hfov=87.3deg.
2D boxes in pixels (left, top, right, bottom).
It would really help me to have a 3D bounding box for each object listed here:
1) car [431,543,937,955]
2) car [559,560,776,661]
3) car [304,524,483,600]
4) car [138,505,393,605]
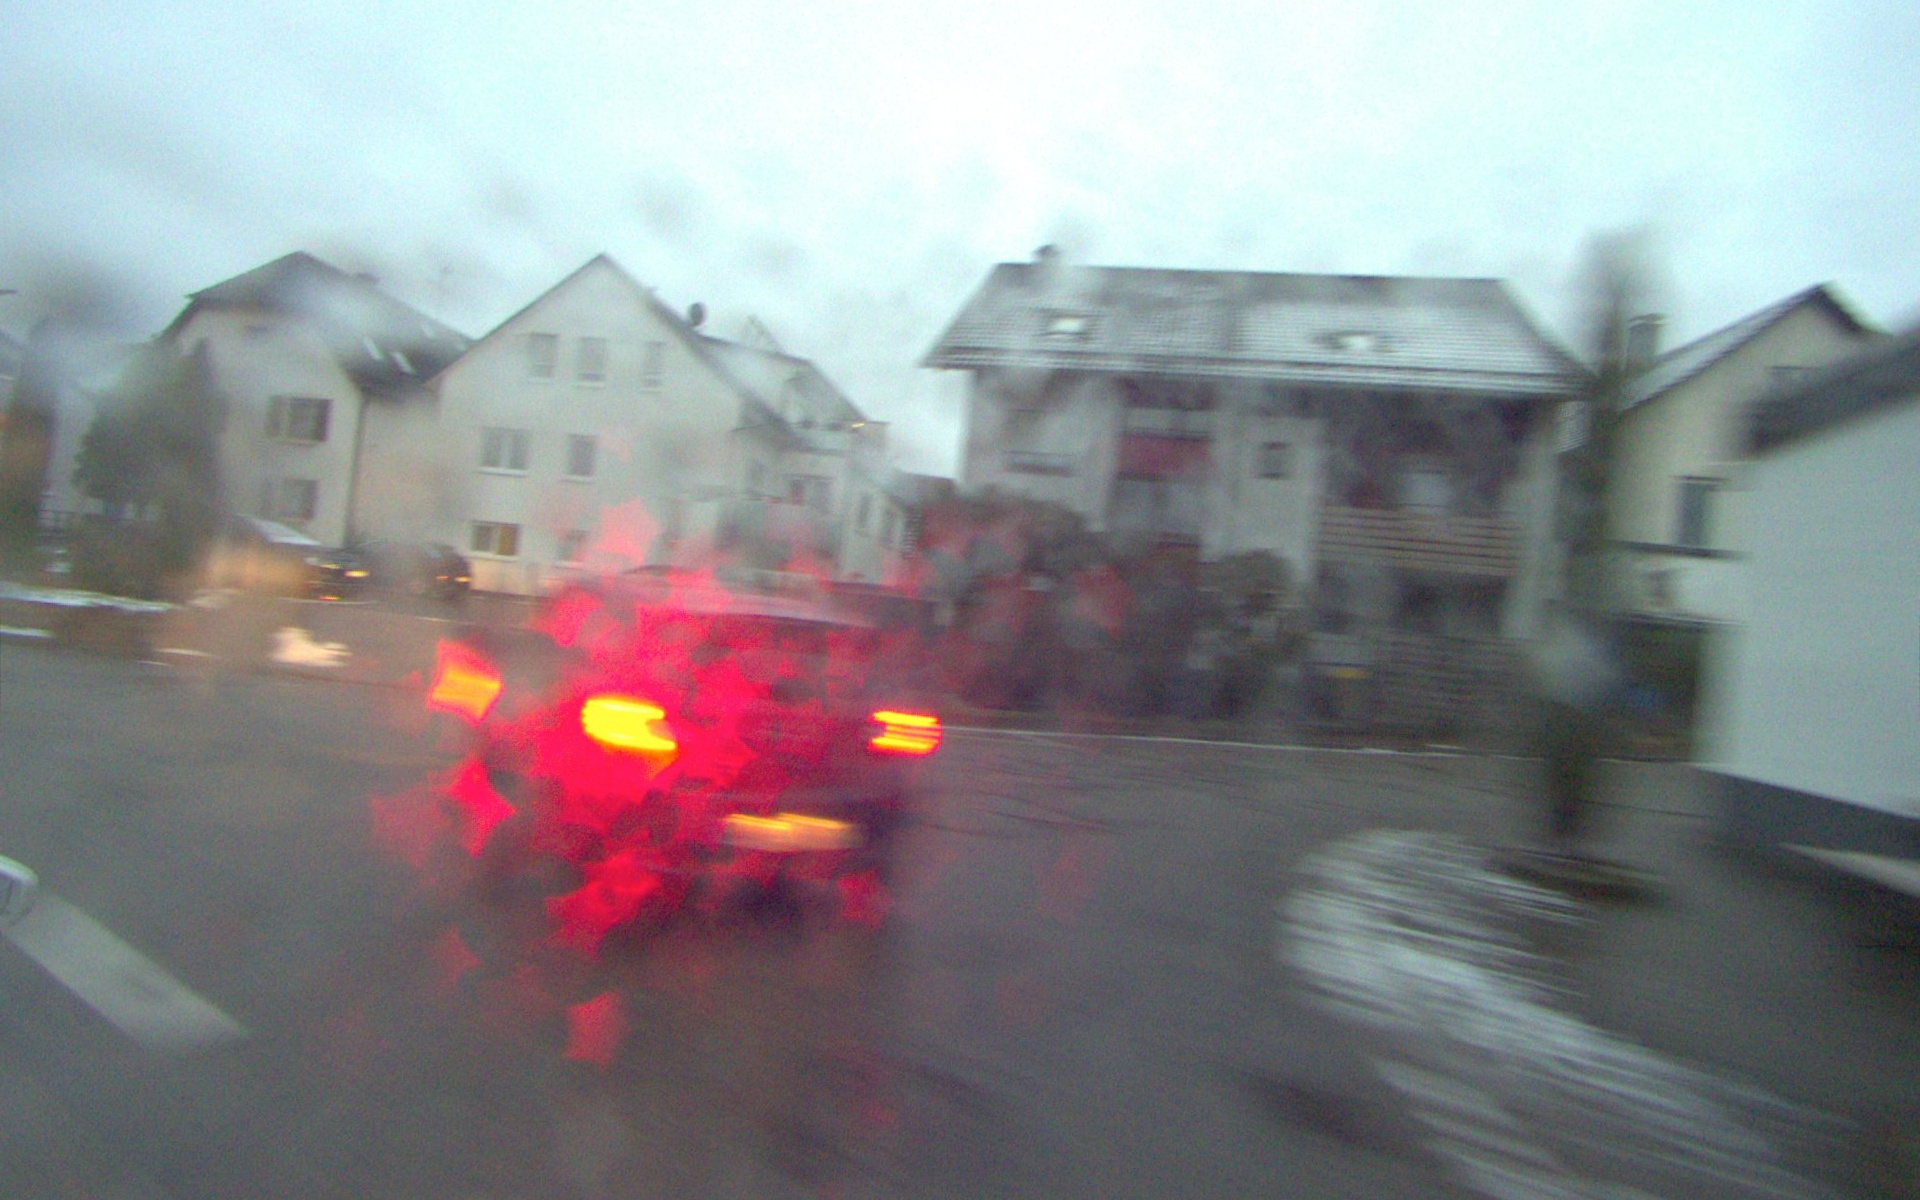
[{"bbox_3d":[-1.816,0.546,5.596,1.536,1.483,3.666,8,-1,-33],"label":"car"},{"bbox_3d":[-6.352,0.211,22.078,4.057,1.653,1.815,7,1,6],"label":"car"},{"bbox_3d":[-15.771,-1.032,28.124,3.924,1.587,1.815,7,1,6],"label":"car"},{"bbox_3d":[-15.408,-0.974,22.435,4.464,1.649,1.815,7,1,6],"label":"car"}]
